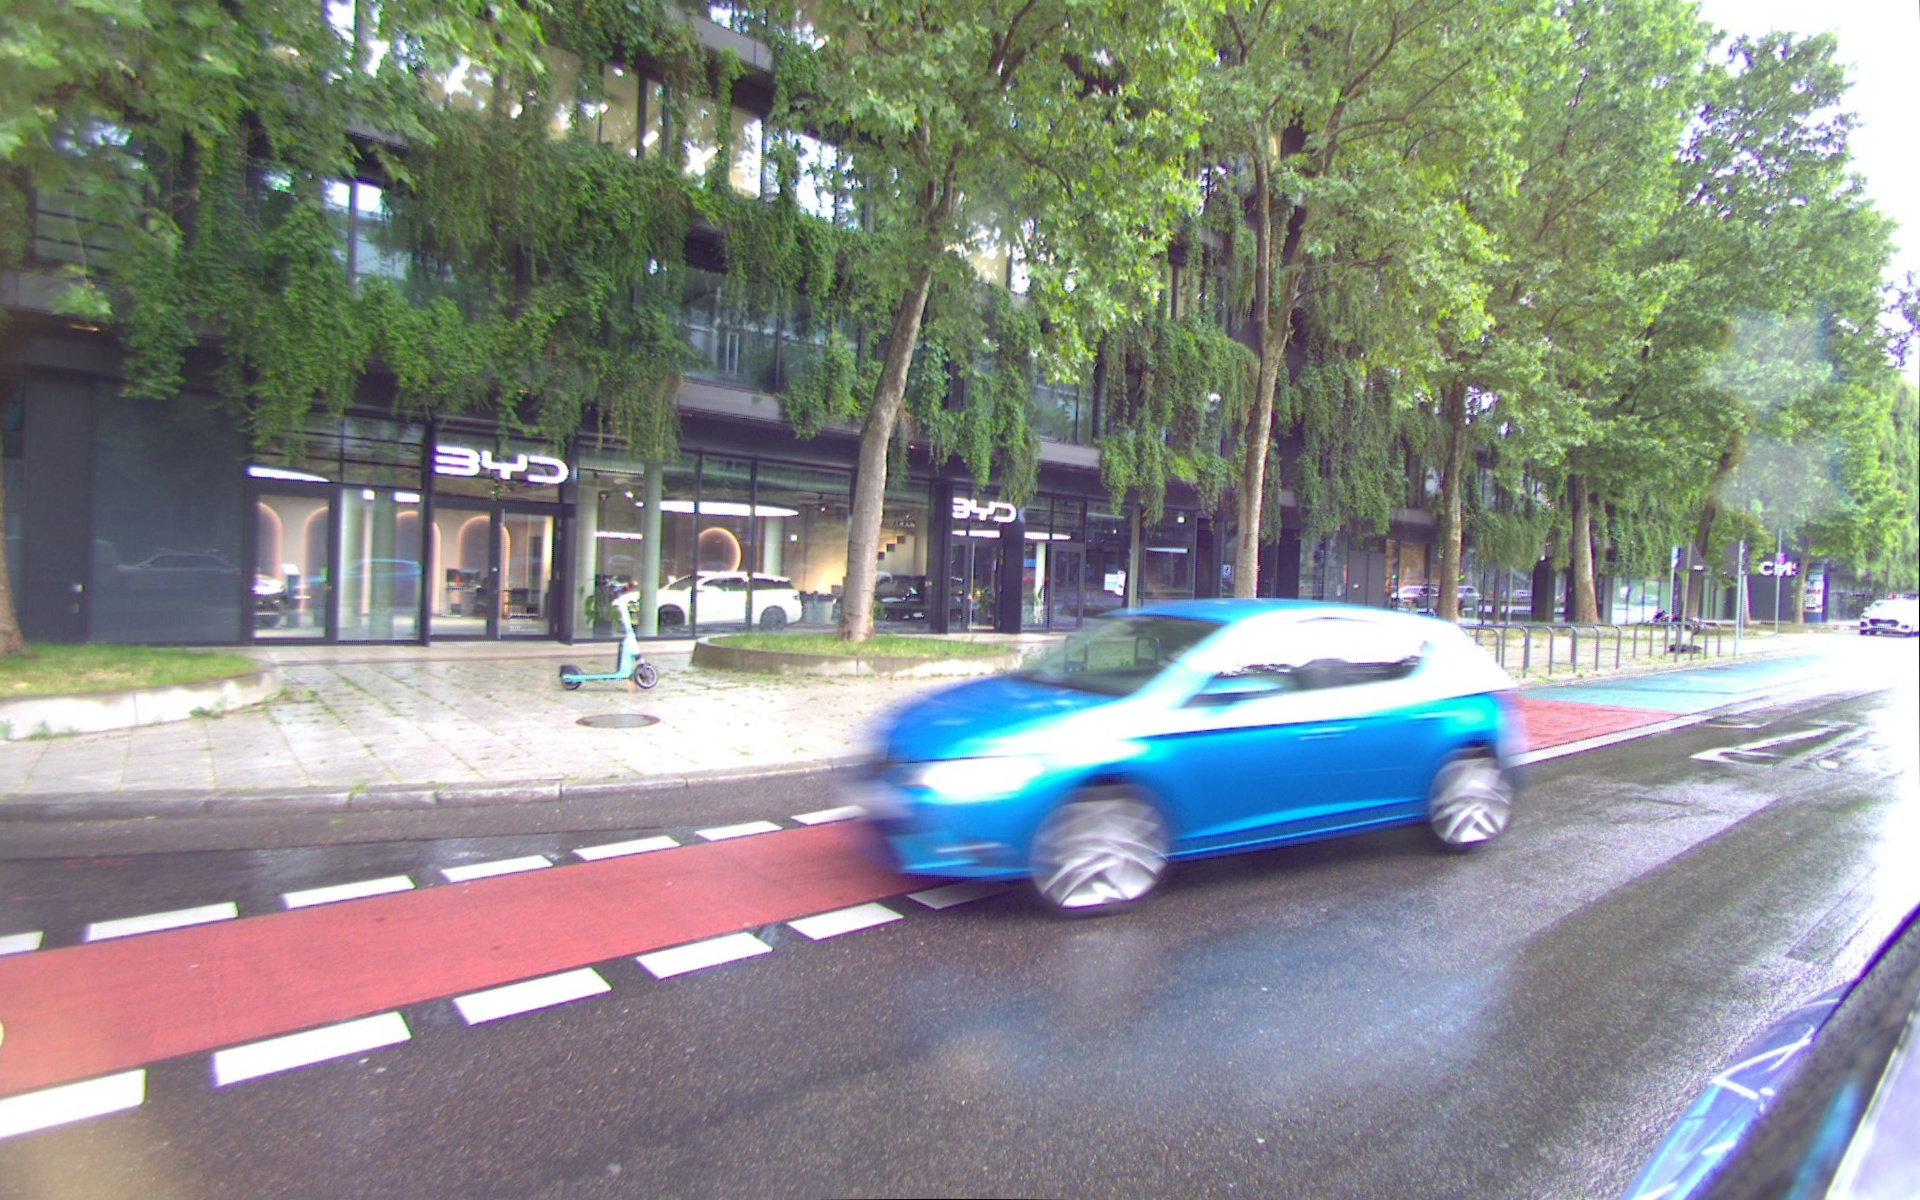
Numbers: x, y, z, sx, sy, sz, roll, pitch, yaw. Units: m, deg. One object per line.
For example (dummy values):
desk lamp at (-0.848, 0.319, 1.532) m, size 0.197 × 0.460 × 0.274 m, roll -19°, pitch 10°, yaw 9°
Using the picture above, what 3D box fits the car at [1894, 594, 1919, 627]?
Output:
car at (49.256, 0.524, 51.389) m, size 4.503 × 1.581 × 2.035 m, roll -1°, pitch 1°, yaw -39°

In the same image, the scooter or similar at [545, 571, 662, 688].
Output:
scooter or similar at (-4.082, 0.326, 11.624) m, size 1.165 × 1.298 × 0.535 m, roll 0°, pitch 0°, yaw 10°

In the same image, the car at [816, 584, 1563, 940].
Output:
car at (1.350, 0.654, 5.896) m, size 3.979 × 1.453 × 1.805 m, roll 0°, pitch 2°, yaw -26°

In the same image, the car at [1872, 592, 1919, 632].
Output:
car at (44.605, 0.536, 47.646) m, size 4.519 × 1.757 × 1.931 m, roll -1°, pitch 1°, yaw -41°
